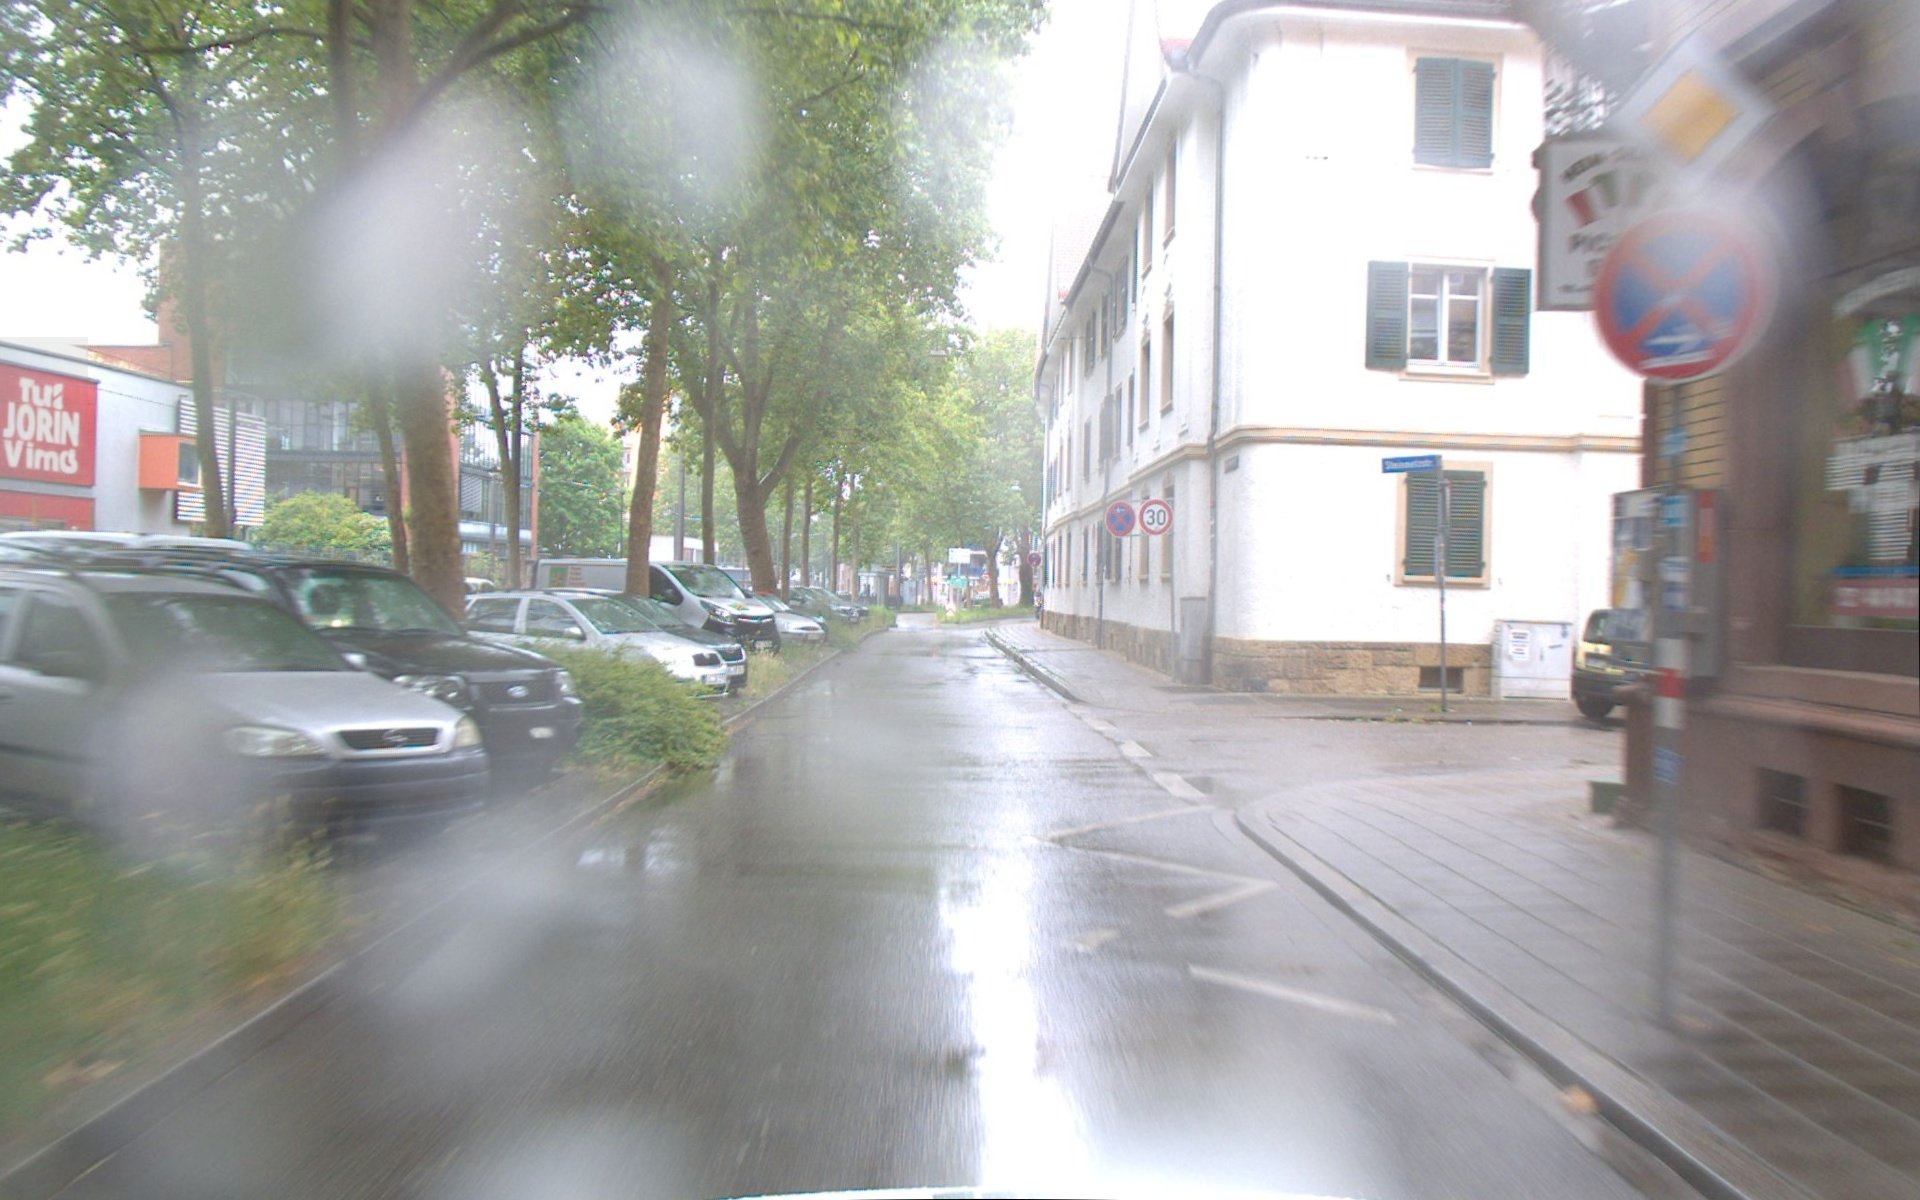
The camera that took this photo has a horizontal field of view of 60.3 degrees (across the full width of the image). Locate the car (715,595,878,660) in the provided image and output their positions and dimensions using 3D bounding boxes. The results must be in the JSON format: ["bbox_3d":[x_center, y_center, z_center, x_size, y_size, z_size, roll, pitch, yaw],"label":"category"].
[{"bbox_3d":[-4.048,0.648,40.830,3.734,1.547,1.719,0,0,30],"label":"car"}]

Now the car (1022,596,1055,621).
[{"bbox_3d":[5.432,0.569,115.289,1.953,1.668,3.999,2,0,-2],"label":"car"}]

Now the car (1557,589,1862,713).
[{"bbox_3d":[9.885,0.672,21.920,3.293,1.513,1.714,1,-1,-8],"label":"car"}]

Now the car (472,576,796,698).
[{"bbox_3d":[-4.556,0.458,23.074,4.217,1.462,1.746,2,1,26],"label":"car"}]

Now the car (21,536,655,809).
[{"bbox_3d":[-4.564,0.417,12.079,4.318,1.689,1.928,1,1,27],"label":"car"}]

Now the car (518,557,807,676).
[{"bbox_3d":[-5.446,0.271,30.123,5.019,2.012,2.099,0,0,30],"label":"car"}]

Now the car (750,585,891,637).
[{"bbox_3d":[-4.700,0.350,55.710,4.370,1.625,1.922,2,1,25],"label":"car"}]

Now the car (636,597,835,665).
[{"bbox_3d":[-5.257,0.695,38.606,4.460,1.508,1.772,0,0,29],"label":"car"}]

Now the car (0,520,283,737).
[{"bbox_3d":[-9.372,0.222,18.182,1.997,2.034,5.155,2,1,-4],"label":"car"}]

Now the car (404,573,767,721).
[{"bbox_3d":[-4.521,0.505,19.974,3.974,1.525,1.747,2,1,23],"label":"car"}]

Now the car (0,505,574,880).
[{"bbox_3d":[-4.433,0.434,9.281,4.321,1.674,1.868,-1,0,30],"label":"car"}]
